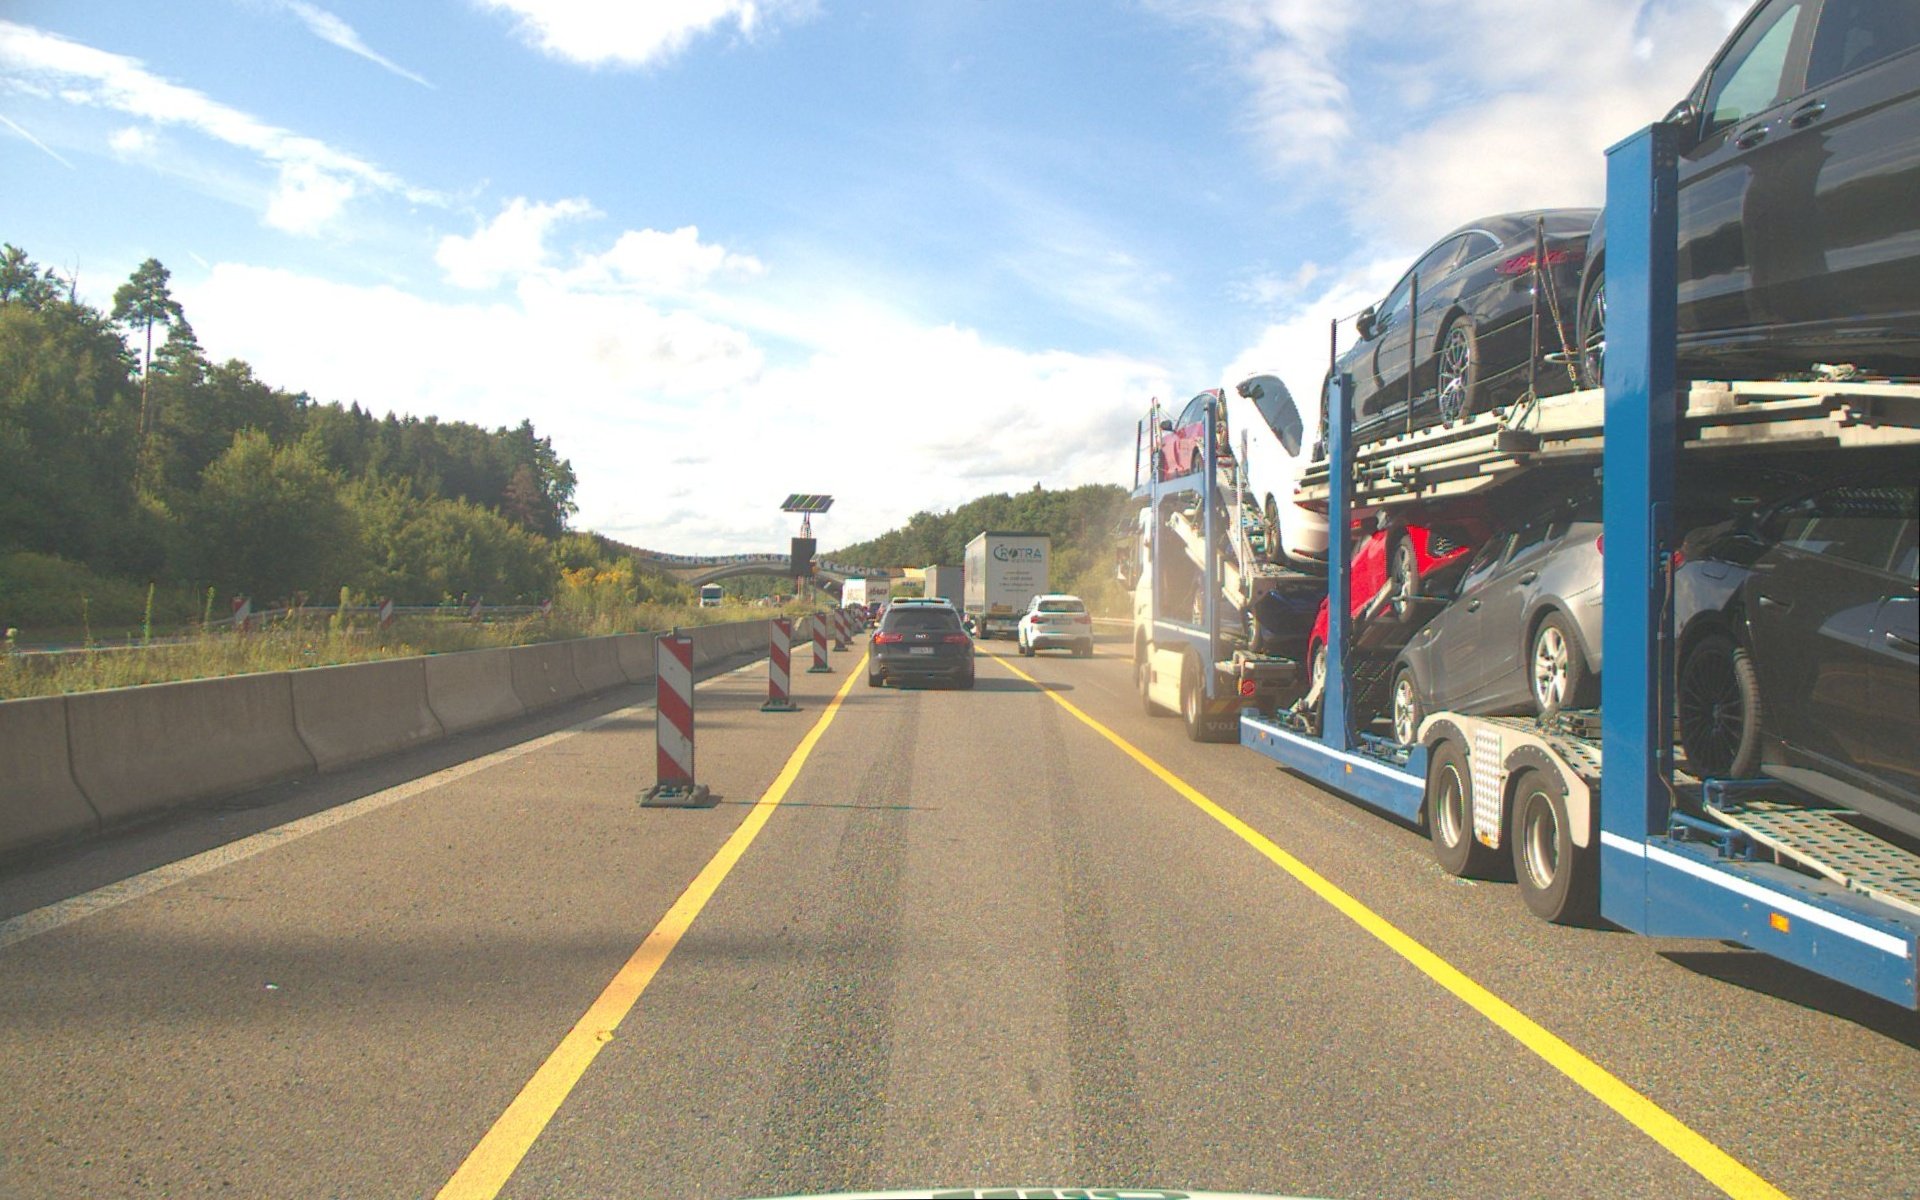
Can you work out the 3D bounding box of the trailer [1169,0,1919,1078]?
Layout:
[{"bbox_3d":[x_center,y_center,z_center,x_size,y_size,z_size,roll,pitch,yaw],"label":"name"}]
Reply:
[{"bbox_3d":[4.517,-0.649,10.912,3.651,4.270,16.220,1,0,-2],"label":"trailer"}]

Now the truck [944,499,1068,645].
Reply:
[{"bbox_3d":[1.658,-1.008,70.586,3.605,5.447,16.186,1,0,-4],"label":"truck"}]

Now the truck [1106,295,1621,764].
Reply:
[{"bbox_3d":[4.094,-0.619,19.241,3.686,4.270,7.946,1,0,-3],"label":"truck"}]

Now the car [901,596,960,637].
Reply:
[{"bbox_3d":[-1.140,0.617,62.589,1.854,1.472,3.994,1,0,-7],"label":"car"}]

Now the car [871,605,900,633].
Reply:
[{"bbox_3d":[-5.652,1.444,125.129,1.955,2.049,3.994,1,0,-7],"label":"car"}]

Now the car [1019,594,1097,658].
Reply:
[{"bbox_3d":[2.698,0.701,46.245,1.852,1.672,4.017,1,0,-1],"label":"car"}]

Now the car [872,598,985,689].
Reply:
[{"bbox_3d":[-0.549,0.736,29.313,1.852,1.472,3.999,1,0,-1],"label":"car"}]

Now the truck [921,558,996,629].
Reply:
[{"bbox_3d":[-0.222,-0.378,116.080,4.235,4.681,11.112,1,0,-5],"label":"truck"}]

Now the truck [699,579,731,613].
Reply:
[{"bbox_3d":[-26.646,-0.414,180.167,2.728,3.551,4.938,1,0,-1],"label":"truck"}]

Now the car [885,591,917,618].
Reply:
[{"bbox_3d":[-3.889,0.306,108.190,1.853,1.672,4.013,1,0,-5],"label":"car"}]

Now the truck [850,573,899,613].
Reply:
[{"bbox_3d":[-8.962,-0.653,172.710,3.589,3.997,11.037,1,0,-11],"label":"truck"}]
